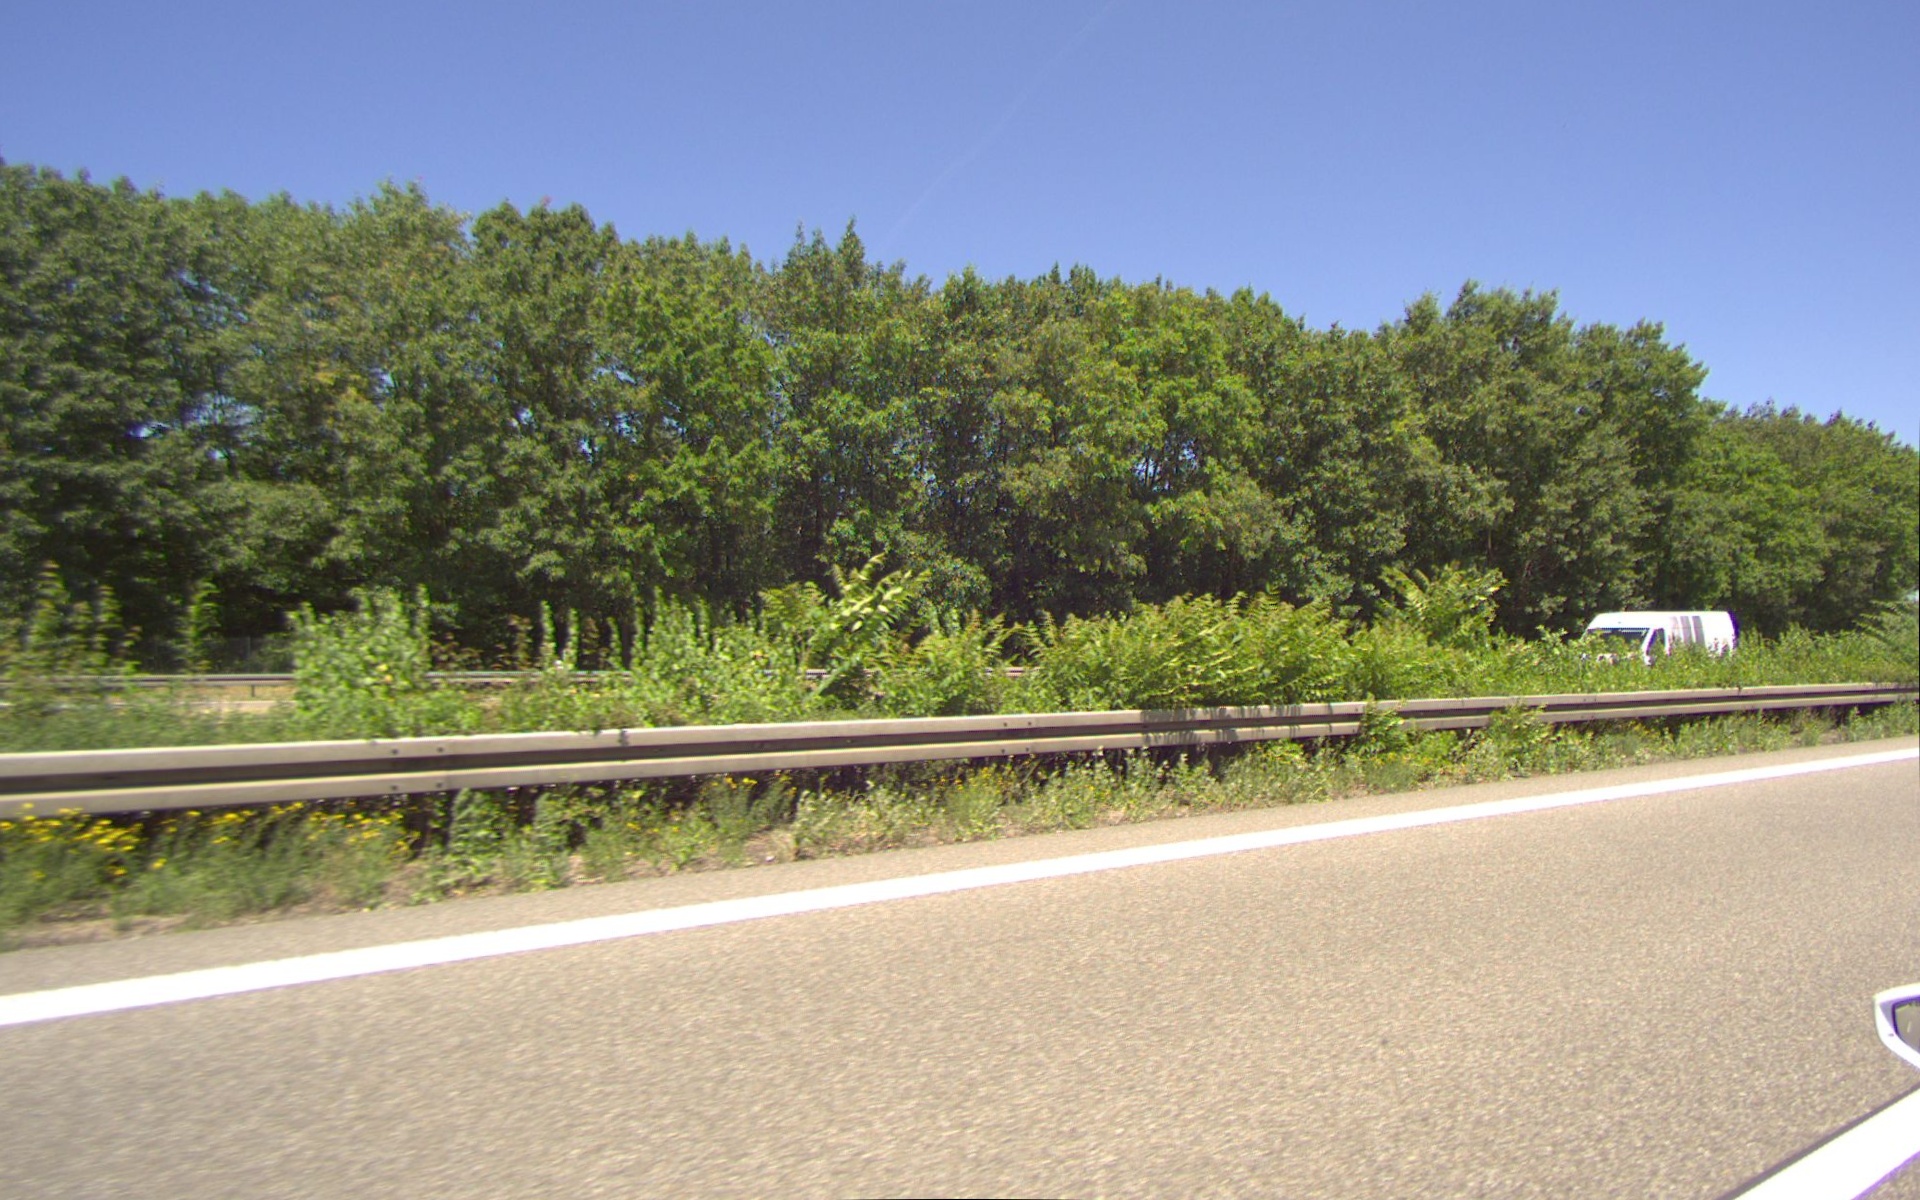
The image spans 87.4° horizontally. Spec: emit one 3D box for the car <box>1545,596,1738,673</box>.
[{"bbox_3d":[20.436,1.024,30.027,6.556,2.082,2.136,2,0,-30],"label":"car"}]

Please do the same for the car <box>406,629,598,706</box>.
[{"bbox_3d":[-10.891,1.553,23.912,3.954,1.615,1.961,2,1,-31],"label":"car"}]
